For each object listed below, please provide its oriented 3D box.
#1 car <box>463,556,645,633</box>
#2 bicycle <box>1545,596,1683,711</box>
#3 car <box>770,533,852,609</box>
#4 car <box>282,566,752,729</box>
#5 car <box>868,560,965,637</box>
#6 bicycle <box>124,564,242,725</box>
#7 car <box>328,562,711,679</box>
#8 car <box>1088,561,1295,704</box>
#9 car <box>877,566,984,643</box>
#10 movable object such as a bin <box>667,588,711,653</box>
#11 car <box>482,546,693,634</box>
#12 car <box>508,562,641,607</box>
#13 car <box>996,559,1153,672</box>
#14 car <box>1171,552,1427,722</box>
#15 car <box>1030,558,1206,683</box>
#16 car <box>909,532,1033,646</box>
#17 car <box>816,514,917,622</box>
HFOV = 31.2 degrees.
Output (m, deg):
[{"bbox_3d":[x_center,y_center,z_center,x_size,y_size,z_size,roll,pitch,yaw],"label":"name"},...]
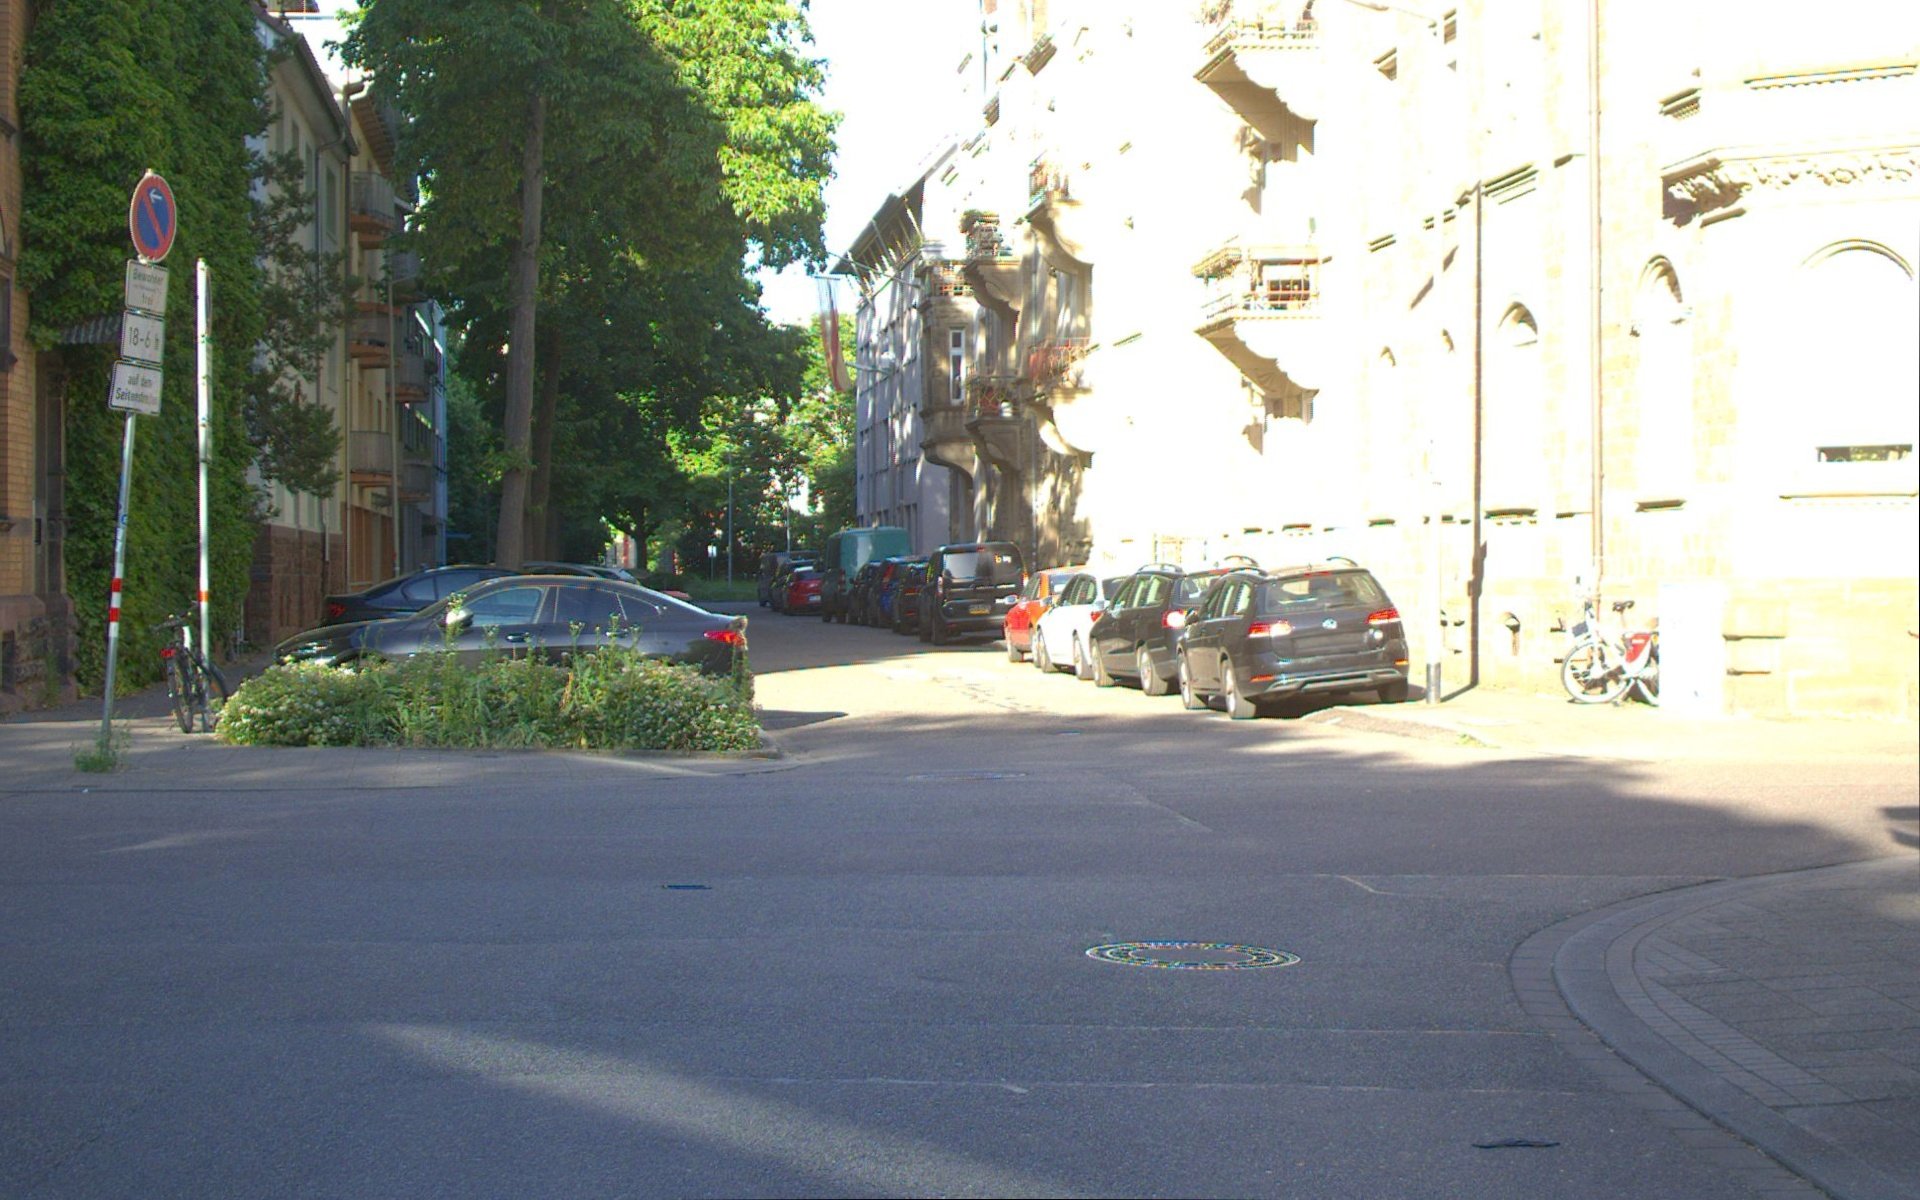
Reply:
[{"bbox_3d":[-8.732,-0.114,73.858,3.800,1.570,1.710,1,0,-8],"label":"car"},{"bbox_3d":[5.889,0.475,31.031,0.514,0.994,1.576,1,0,-18],"label":"bicycle"},{"bbox_3d":[-4.583,-0.877,105.274,2.165,2.229,4.792,1,0,-6],"label":"car"},{"bbox_3d":[-4.166,0.435,32.412,4.242,1.430,2.000,1,0,-8],"label":"car"},{"bbox_3d":[-1.009,-0.047,77.980,1.802,1.673,4.001,1,0,-6],"label":"car"},{"bbox_3d":[-6.339,0.345,28.109,0.563,1.264,1.603,-1,1,1],"label":"bicycle"},{"bbox_3d":[-5.718,0.259,44.728,4.833,1.430,1.710,1,0,-8],"label":"car"},{"bbox_3d":[2.668,0.359,40.479,1.737,1.576,4.001,1,0,-6],"label":"car"},{"bbox_3d":[-0.639,0.079,71.238,1.802,1.509,4.001,1,0,-6],"label":"car"},{"bbox_3d":[-4.428,0.340,56.199,0.629,1.049,0.568,1,0,-12],"label":"movable object such as a bin"},{"bbox_3d":[-6.979,-0.190,64.200,3.800,1.570,1.710,1,0,-10],"label":"car"},{"bbox_3d":[-11.228,-0.461,99.998,3.800,1.236,1.710,1,0,-8],"label":"car"},{"bbox_3d":[1.635,0.207,50.497,1.737,1.576,4.001,1,0,-6],"label":"car"},{"bbox_3d":[3.318,0.343,34.387,1.737,1.576,4.001,1,0,-6],"label":"car"},{"bbox_3d":[2.061,0.248,45.957,1.737,1.576,4.001,1,0,-6],"label":"car"},{"bbox_3d":[0.175,-0.202,62.868,1.802,1.997,4.001,1,0,-6],"label":"car"},{"bbox_3d":[-2.423,-0.807,88.255,2.165,2.681,4.792,1,0,-6],"label":"car"}]
